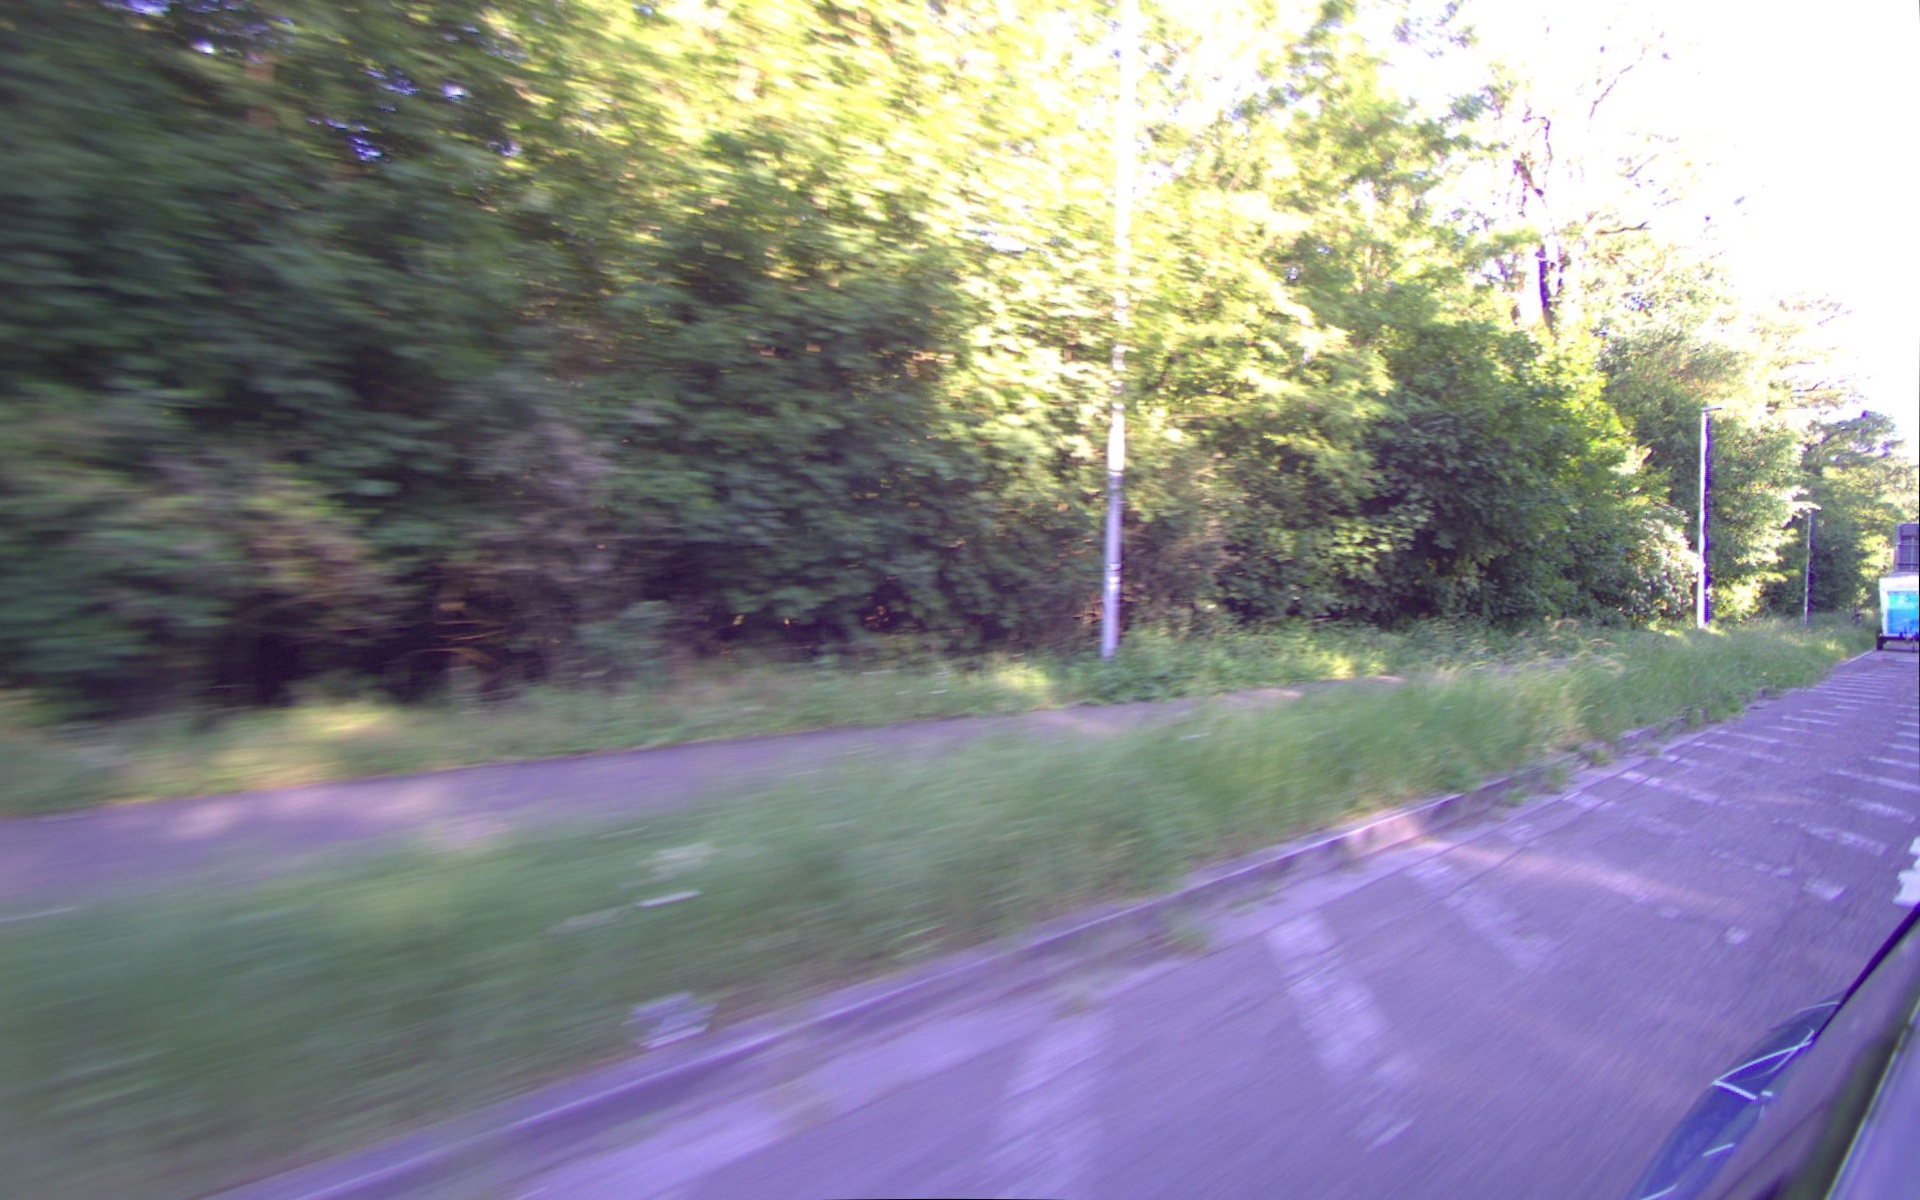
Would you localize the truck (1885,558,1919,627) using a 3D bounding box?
[{"bbox_3d":[48.977,-0.391,51.297,2.701,3.277,7.014,3,3,45],"label":"truck"}]

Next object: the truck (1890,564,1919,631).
[{"bbox_3d":[43.622,-0.160,45.545,2.384,2.908,5.509,-2,0,45],"label":"truck"}]

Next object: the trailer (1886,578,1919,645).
[{"bbox_3d":[33.005,0.338,34.581,1.865,2.205,4.063,0,1,45],"label":"trailer"}]
